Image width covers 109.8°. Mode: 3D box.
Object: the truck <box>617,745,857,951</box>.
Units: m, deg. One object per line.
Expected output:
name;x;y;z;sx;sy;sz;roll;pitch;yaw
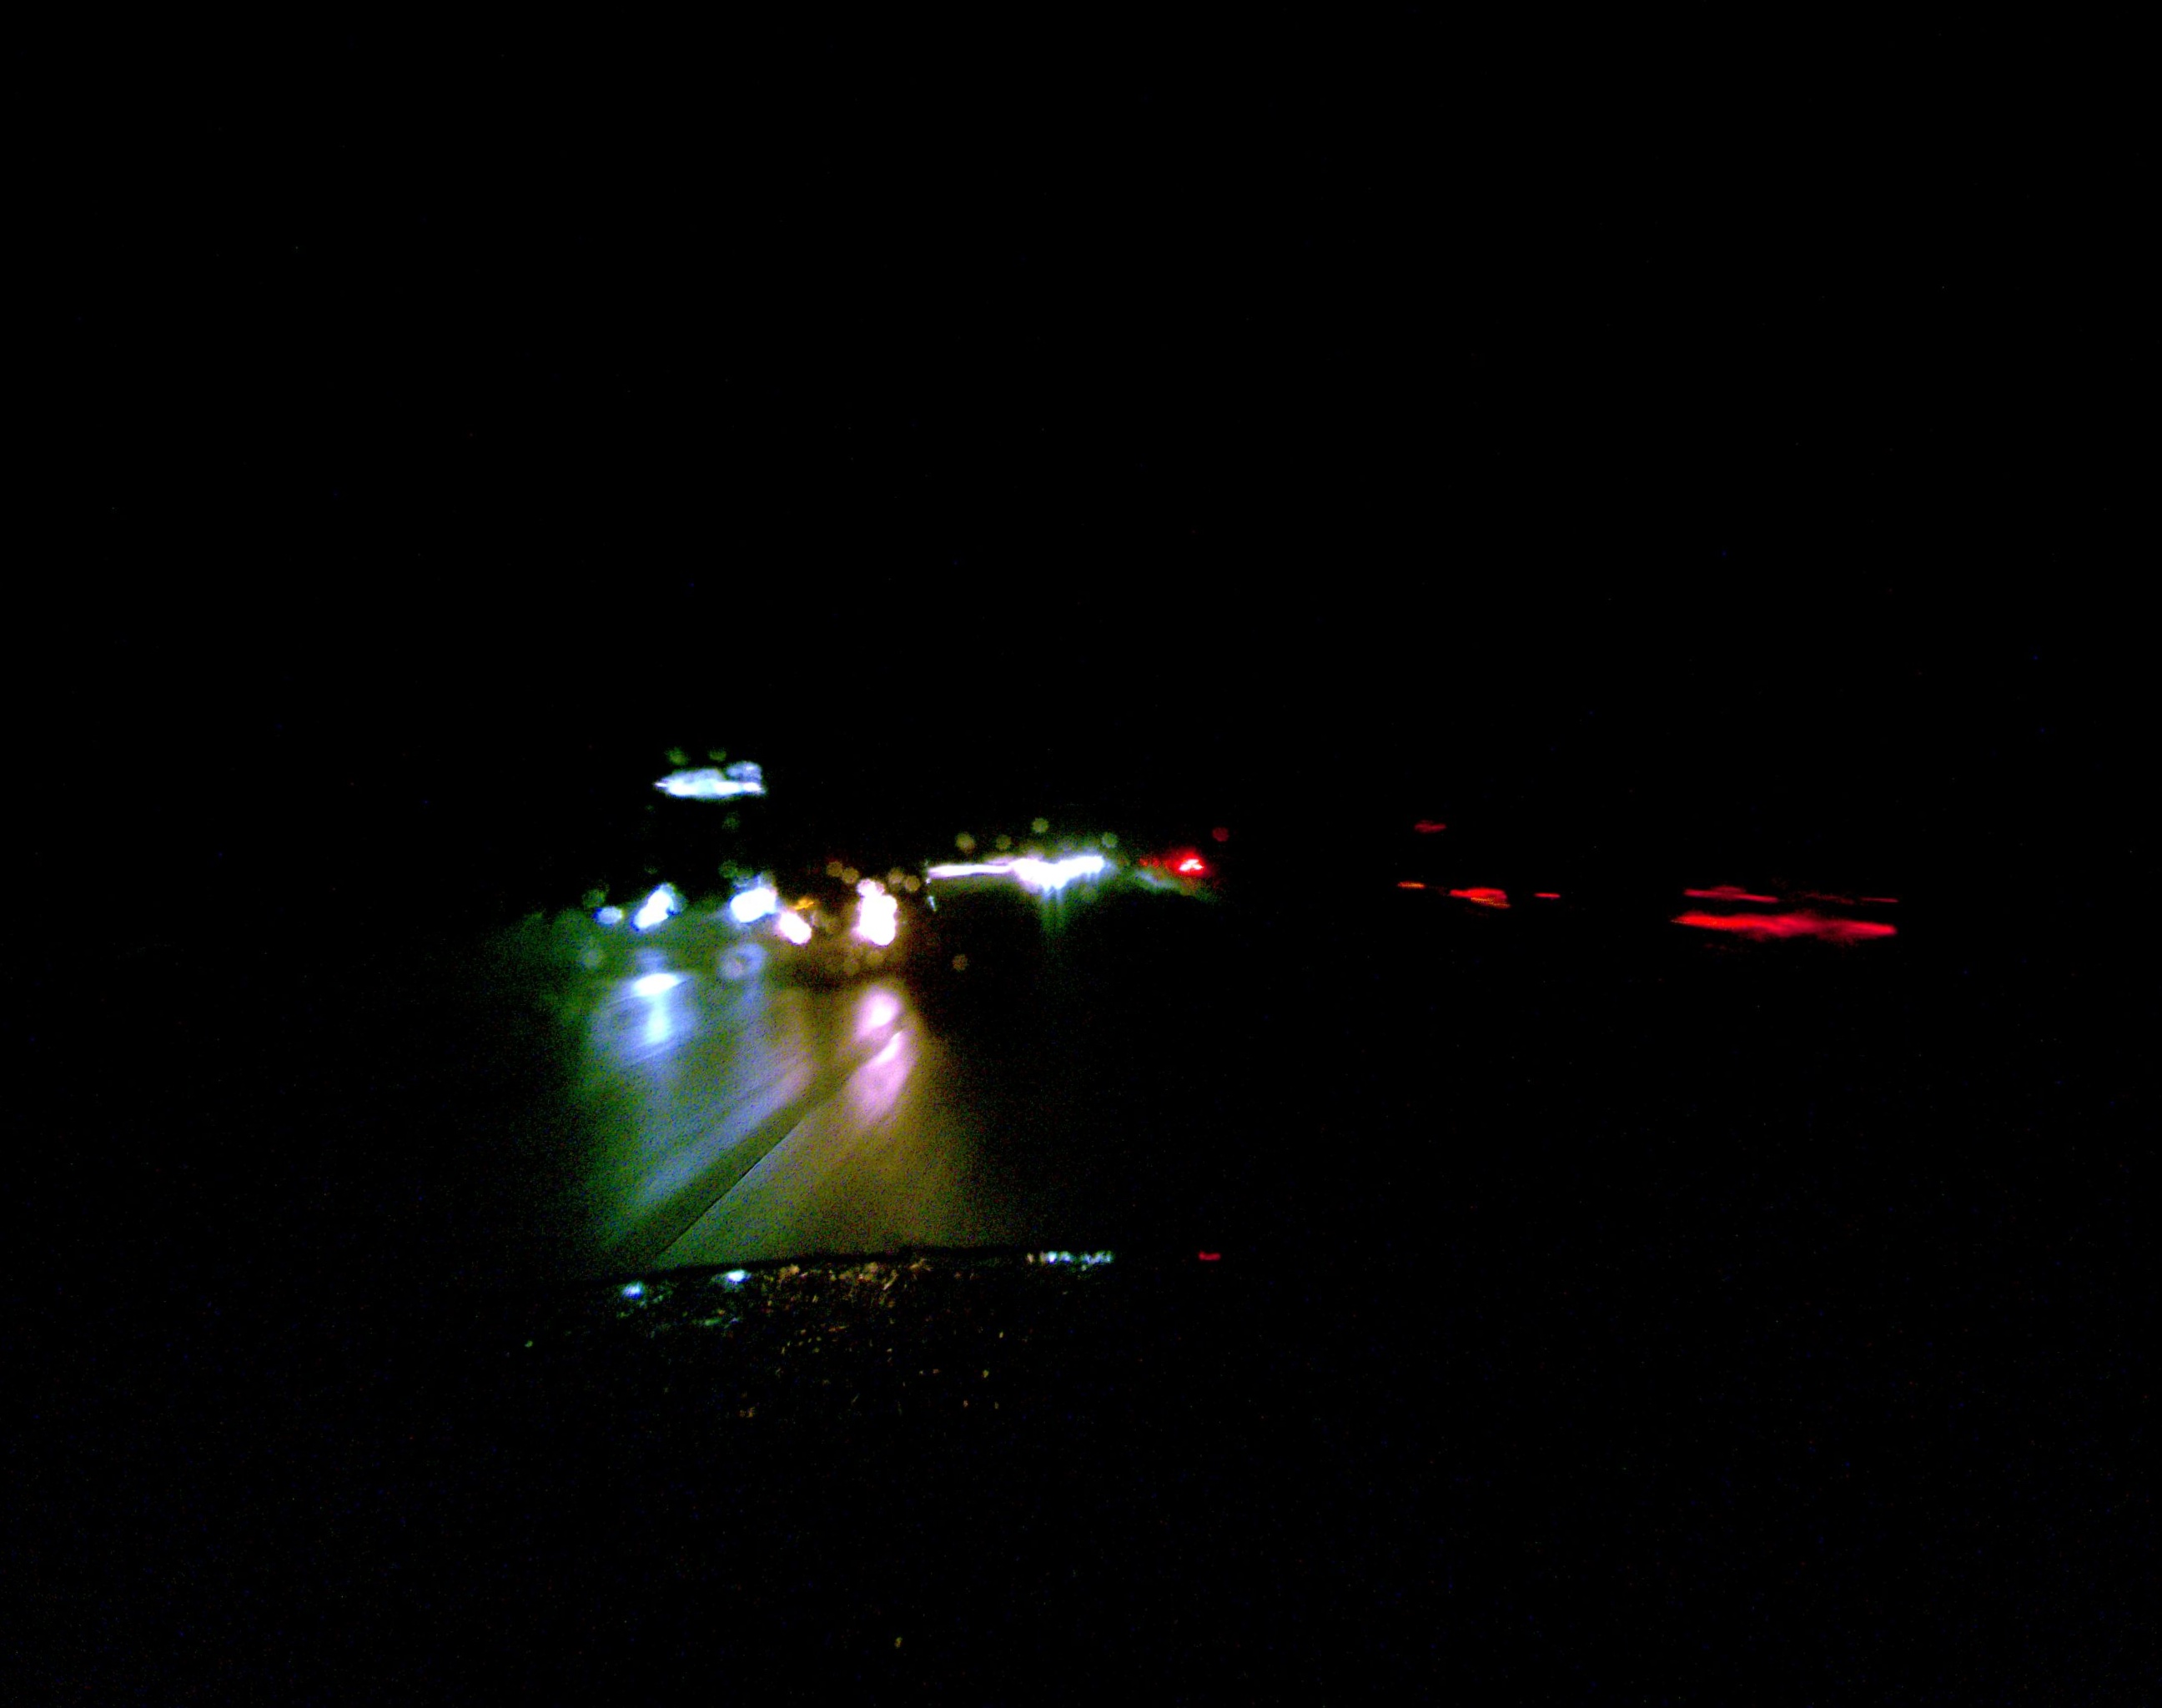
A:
truck;-7.719;-0.111;18.109;2.910;4.084;6.031;0;0;0

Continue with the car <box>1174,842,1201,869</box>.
car;20.204;0.372;145.283;3.714;4.700;10.598;-2;-1;1

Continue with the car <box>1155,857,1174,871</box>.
car;10.530;1.202;96.027;1.921;1.674;4.506;0;1;1

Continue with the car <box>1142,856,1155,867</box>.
car;11.237;1.177;126.243;1.921;1.674;4.000;0;1;1

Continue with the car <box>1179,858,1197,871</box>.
car;14.810;1.442;105.501;1.921;1.674;4.506;0;1;1

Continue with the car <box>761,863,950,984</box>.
car;-3.495;0.983;12.719;1.745;1.566;4.494;-1;0;1

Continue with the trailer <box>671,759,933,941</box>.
trailer;-7.670;-0.067;24.303;2.910;4.084;14.488;0;0;0

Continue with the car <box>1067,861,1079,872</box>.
car;-1.388;2.046;126.984;1.883;1.653;4.001;-3;-2;-1

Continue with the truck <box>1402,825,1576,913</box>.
truck;16.995;0.569;32.544;3.082;3.276;8.344;0;0;1

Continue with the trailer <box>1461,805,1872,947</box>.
trailer;16.842;0.543;24.169;3.082;3.276;13.156;0;0;1

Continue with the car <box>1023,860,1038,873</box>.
car;-6.306;1.562;95.417;1.644;1.494;4.013;-1;-1;-2

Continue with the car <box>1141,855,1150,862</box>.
car;16.507;1.102;195.803;1.998;1.653;4.809;0;0;1

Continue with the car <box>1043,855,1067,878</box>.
car;-2.415;1.171;70.282;1.999;2.001;4.000;-2;-1;-2
